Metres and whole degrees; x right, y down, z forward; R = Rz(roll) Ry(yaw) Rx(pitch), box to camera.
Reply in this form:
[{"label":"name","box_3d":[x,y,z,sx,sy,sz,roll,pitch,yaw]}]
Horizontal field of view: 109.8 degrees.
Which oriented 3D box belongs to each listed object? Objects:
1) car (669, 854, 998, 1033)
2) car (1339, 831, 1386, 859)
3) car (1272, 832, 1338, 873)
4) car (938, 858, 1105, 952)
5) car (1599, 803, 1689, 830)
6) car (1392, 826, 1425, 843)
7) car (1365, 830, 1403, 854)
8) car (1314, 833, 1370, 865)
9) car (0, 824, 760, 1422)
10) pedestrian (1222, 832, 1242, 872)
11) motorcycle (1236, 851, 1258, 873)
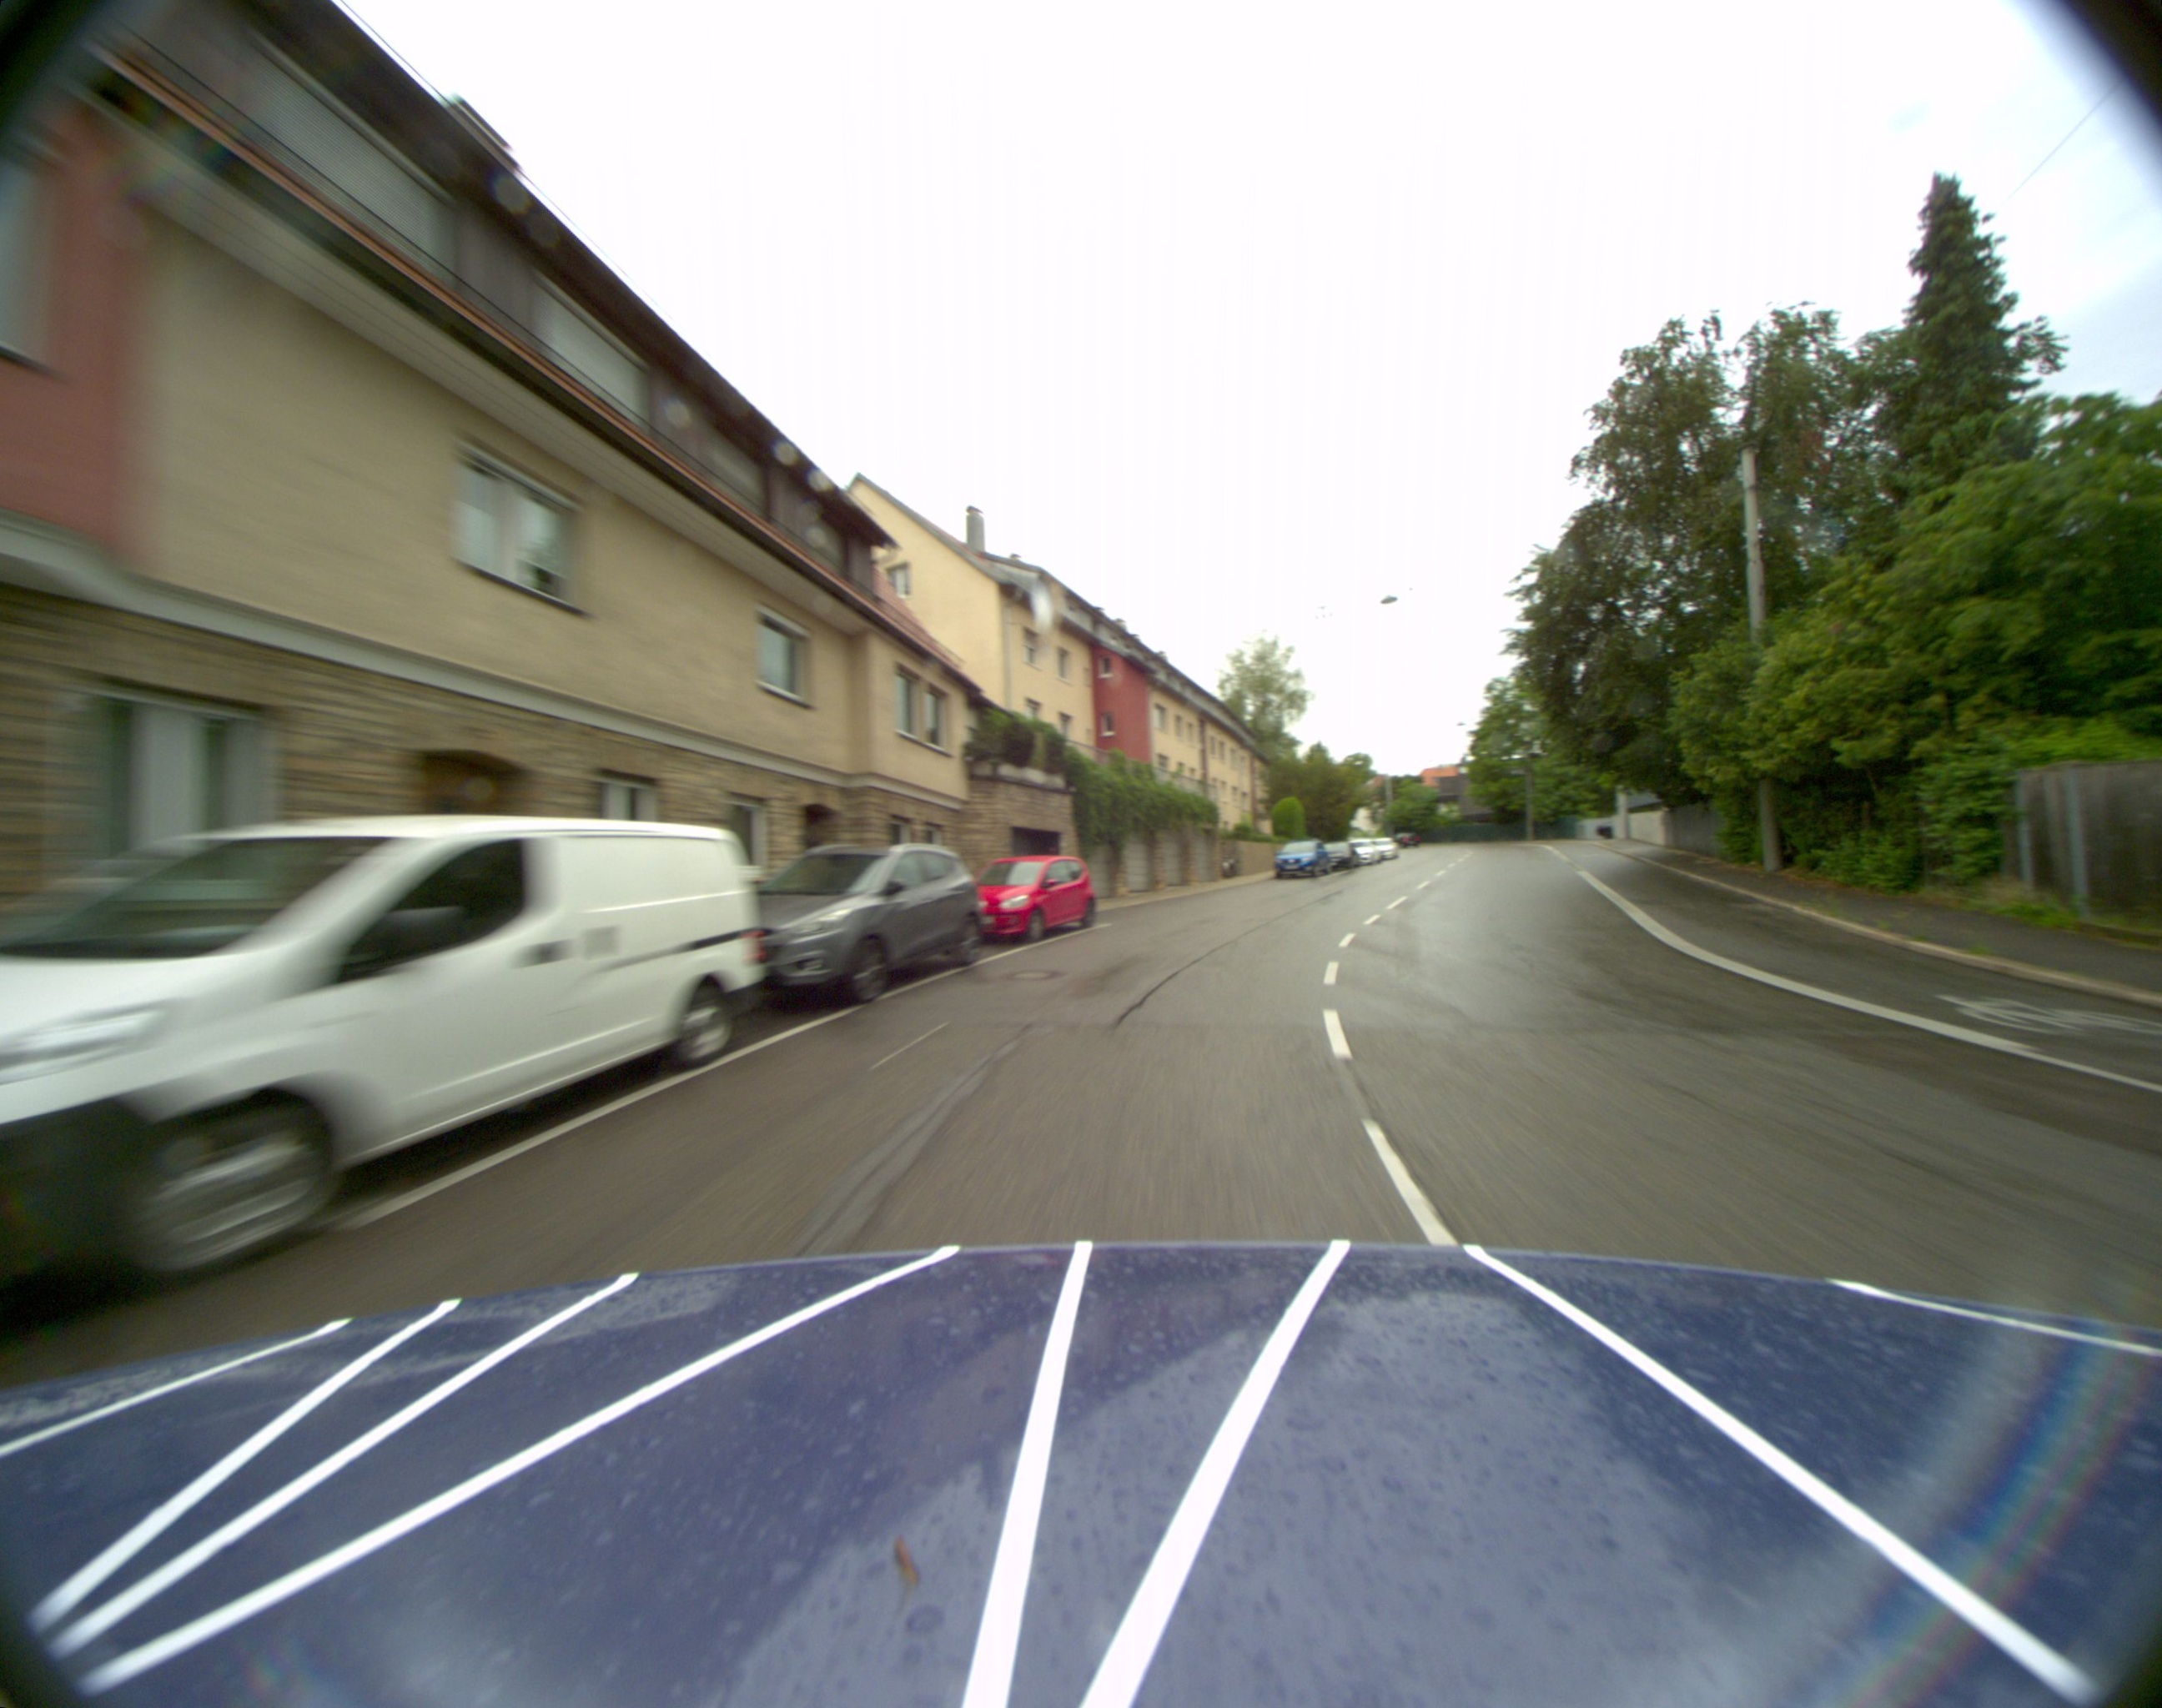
[{"label":"car","box_3d":[-2.582,0.826,9.213,1.617,1.595,4.416,-1,0,15]},{"label":"car","box_3d":[16.210,-0.537,43.611,1.808,1.447,4.261,-3,0,30]},{"label":"car","box_3d":[9.765,-0.099,32.961,1.735,1.584,4.261,-3,0,30]},{"label":"car","box_3d":[-0.972,0.847,14.324,1.616,1.427,3.586,-1,1,23]},{"label":"car","box_3d":[34.530,-2.264,46.723,1.900,1.293,3.992,-4,0,-26]},{"label":"car","box_3d":[32.232,-1.910,74.873,1.653,1.412,3.803,-6,1,5]},{"label":"car","box_3d":[20.586,-0.832,51.488,1.781,1.427,4.576,-5,-1,28]},{"label":"car","box_3d":[13.218,-0.285,38.364,1.690,1.447,4.261,-3,0,32]},{"label":"car","box_3d":[-3.808,0.811,4.184,1.708,1.780,4.329,-1,0,8]},{"label":"pedestrian","box_3d":[6.452,-0.082,32.440,0.621,1.641,0.614,-4,0,-1]},{"label":"motorcycle","box_3d":[6.891,0.313,31.645,0.536,0.851,1.380,-4,0,0]}]
